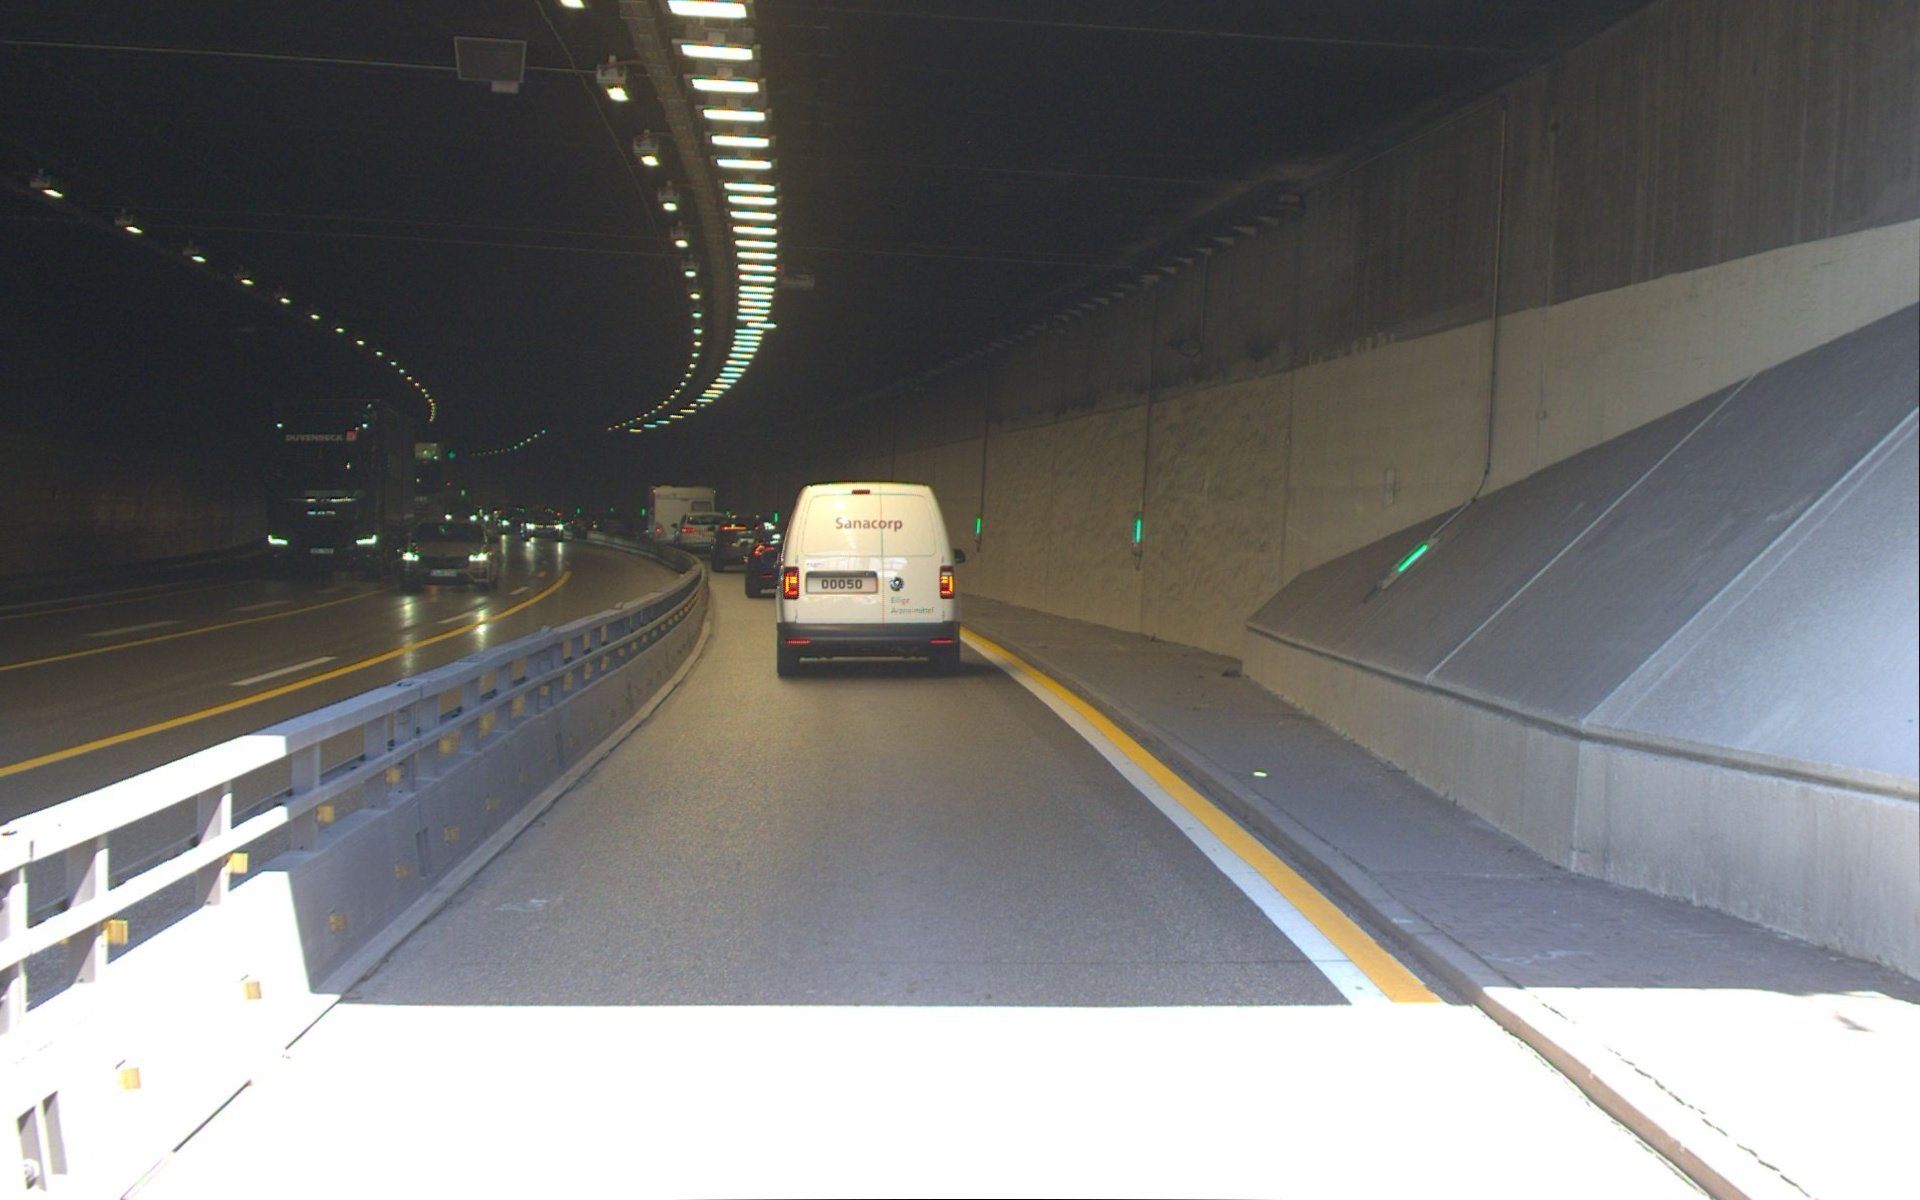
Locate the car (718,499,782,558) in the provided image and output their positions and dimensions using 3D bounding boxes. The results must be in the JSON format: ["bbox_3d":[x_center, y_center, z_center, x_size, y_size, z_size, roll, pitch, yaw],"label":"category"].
[{"bbox_3d":[-5.617,-1.924,91.633,1.598,1.541,3.678,0,2,-5],"label":"car"}]

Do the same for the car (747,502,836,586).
[{"bbox_3d":[-3.232,-1.084,65.374,1.598,1.541,3.678,0,1,-4],"label":"car"}]

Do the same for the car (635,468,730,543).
[{"bbox_3d":[-10.686,-3.581,131.917,2.813,2.764,7.103,-1,1,-11],"label":"car"}]

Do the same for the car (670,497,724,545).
[{"bbox_3d":[-8.732,-2.620,114.019,1.598,1.541,3.679,0,1,-7],"label":"car"}]

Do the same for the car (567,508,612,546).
[{"bbox_3d":[-19.770,-3.905,183.223,1.939,2.014,4.664,0,1,-11],"label":"car"}]

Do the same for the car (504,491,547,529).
[{"bbox_3d":[-23.828,-4.932,188.338,1.926,1.842,4.363,-1,4,-13],"label":"car"}]

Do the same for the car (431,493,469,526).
[{"bbox_3d":[-28.147,-5.015,189.806,1.808,1.801,5.069,0,2,-11],"label":"car"}]

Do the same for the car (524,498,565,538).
[{"bbox_3d":[-19.582,-3.867,161.906,1.808,1.848,5.069,0,1,-8],"label":"car"}]

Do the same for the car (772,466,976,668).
[{"bbox_3d":[-0.836,-0.329,33.465,1.808,1.788,3.731,2,1,-1],"label":"car"}]

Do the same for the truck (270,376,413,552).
[{"bbox_3d":[-14.254,-3.102,79.589,2.809,3.902,6.457,0,1,-6],"label":"truck"}]

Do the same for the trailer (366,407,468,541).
[{"bbox_3d":[-17.941,-4.116,114.281,2.643,4.120,15.465,0,2,-6],"label":"trailer"}]

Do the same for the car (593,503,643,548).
[{"bbox_3d":[-16.734,-3.672,168.046,2.034,2.014,4.633,4,1,-9],"label":"car"}]

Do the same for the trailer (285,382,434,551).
[{"bbox_3d":[-15.108,-3.298,87.482,2.812,3.888,15.465,0,2,-6],"label":"trailer"}]

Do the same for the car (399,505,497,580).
[{"bbox_3d":[-10.214,-1.171,68.793,1.821,1.451,4.094,0,1,-7],"label":"car"}]
